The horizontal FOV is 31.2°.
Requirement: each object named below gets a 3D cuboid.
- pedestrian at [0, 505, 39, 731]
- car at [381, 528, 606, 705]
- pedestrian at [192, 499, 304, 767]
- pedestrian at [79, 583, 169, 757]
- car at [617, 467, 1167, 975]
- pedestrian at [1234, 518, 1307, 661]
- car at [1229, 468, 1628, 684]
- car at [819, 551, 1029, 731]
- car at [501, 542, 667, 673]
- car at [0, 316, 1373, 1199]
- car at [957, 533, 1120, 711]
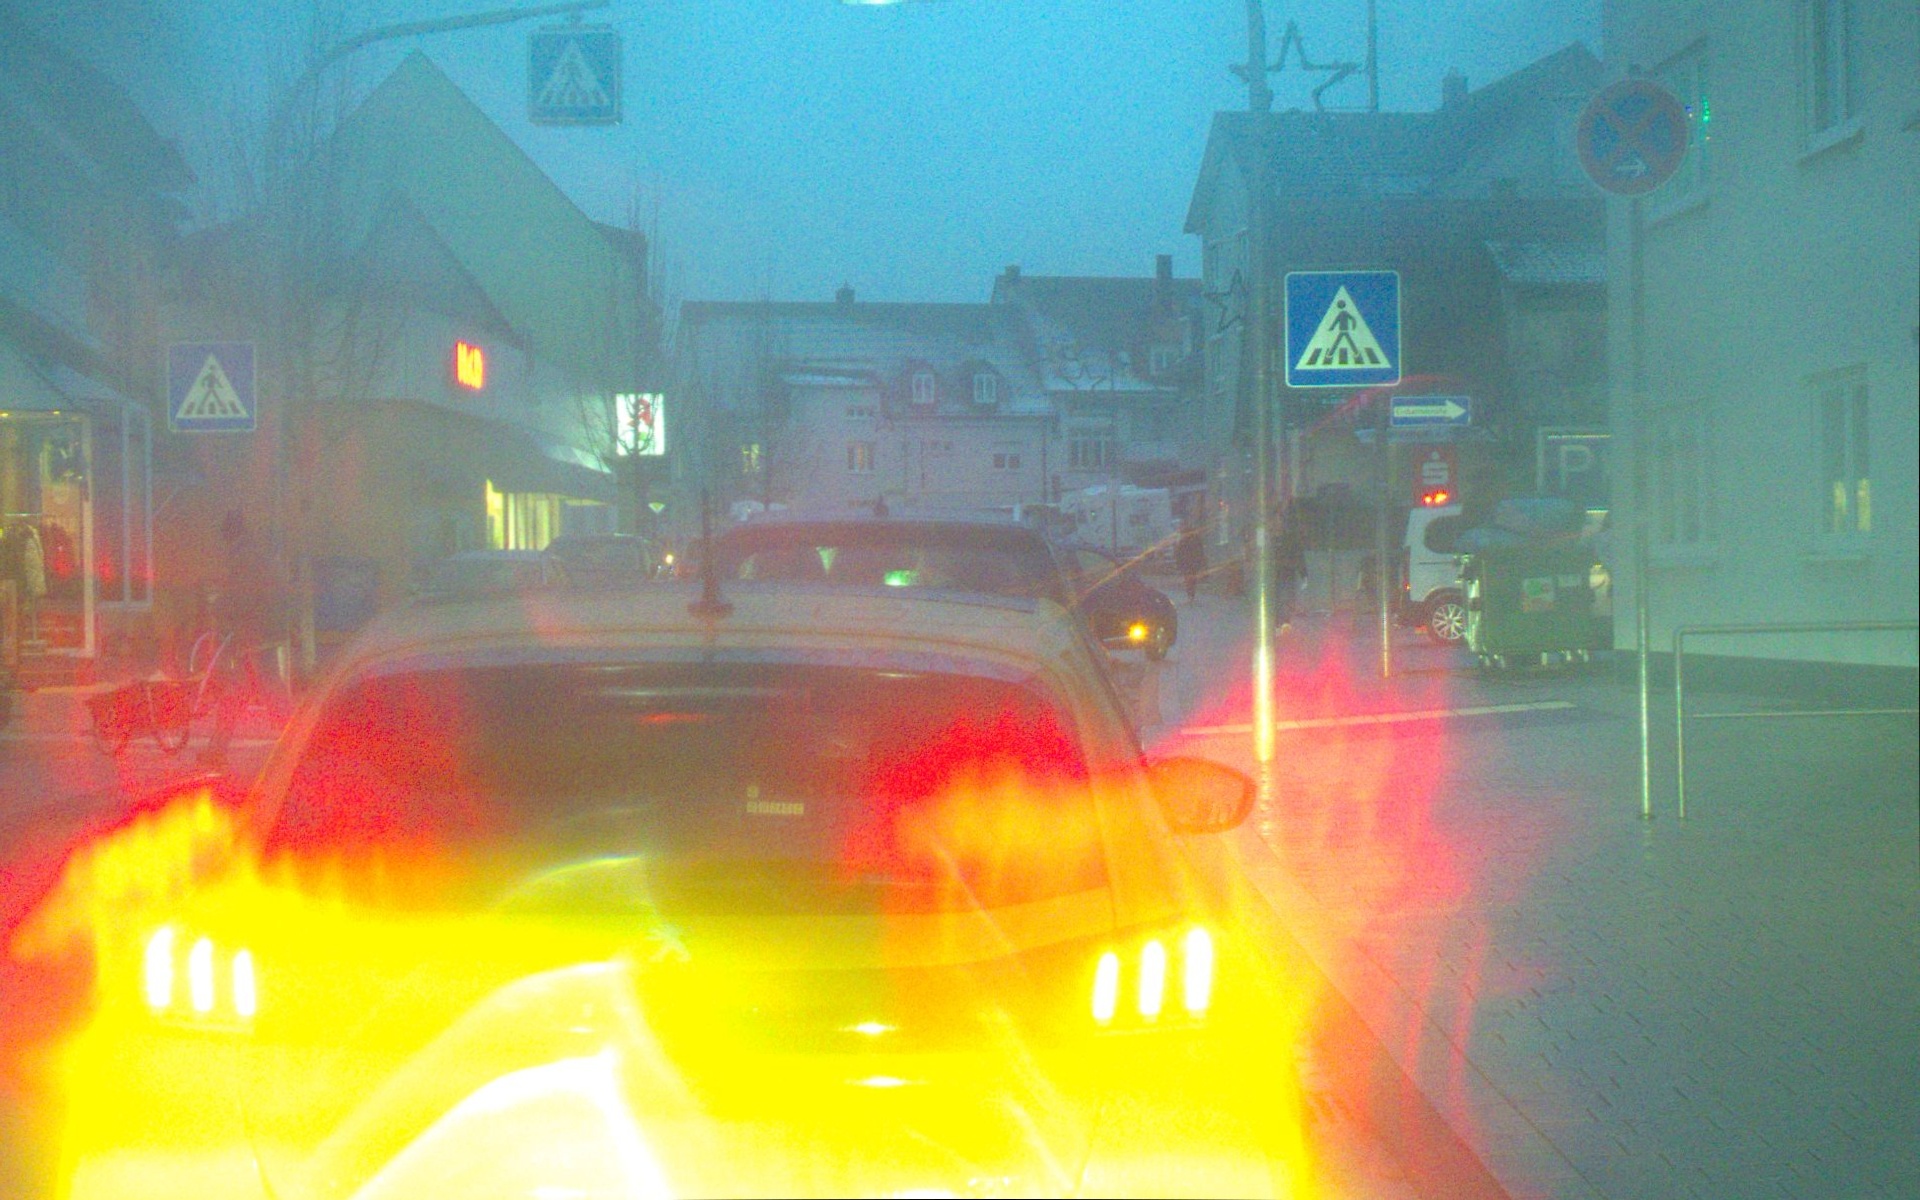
[{"bbox_3d":[-7.813,0.119,26.964,0.973,1.736,0.961,1,2,-6],"label":"pedestrian"},{"bbox_3d":[-5.522,0.154,41.238,1.993,2.007,4.361,0,1,1],"label":"car"},{"bbox_3d":[-5.057,0.224,24.455,0.703,1.870,0.617,1,2,-7],"label":"pedestrian"},{"bbox_3d":[-5.964,0.494,24.534,0.553,1.229,0.434,0,1,-4],"label":"pedestrian"},{"bbox_3d":[-0.196,0.381,13.303,1.798,1.656,4.000,0,0,1],"label":"car"},{"bbox_3d":[4.433,-0.157,49.170,1.016,2.007,1.275,0,1,5],"label":"pedestrian"},{"bbox_3d":[4.507,-0.235,33.464,3.697,2.007,1.689,1,0,3],"label":"car"},{"bbox_3d":[-0.274,0.336,32.861,1.827,1.596,4.581,0,1,2],"label":"car"},{"bbox_3d":[-5.224,0.073,48.288,1.993,1.746,4.362,0,1,-2],"label":"car"},{"bbox_3d":[-0.424,0.513,6.343,1.994,1.789,4.648,0,1,2],"label":"car"},{"bbox_3d":[0.908,0.221,41.961,1.641,2.007,4.001,-2,1,-3],"label":"car"}]
